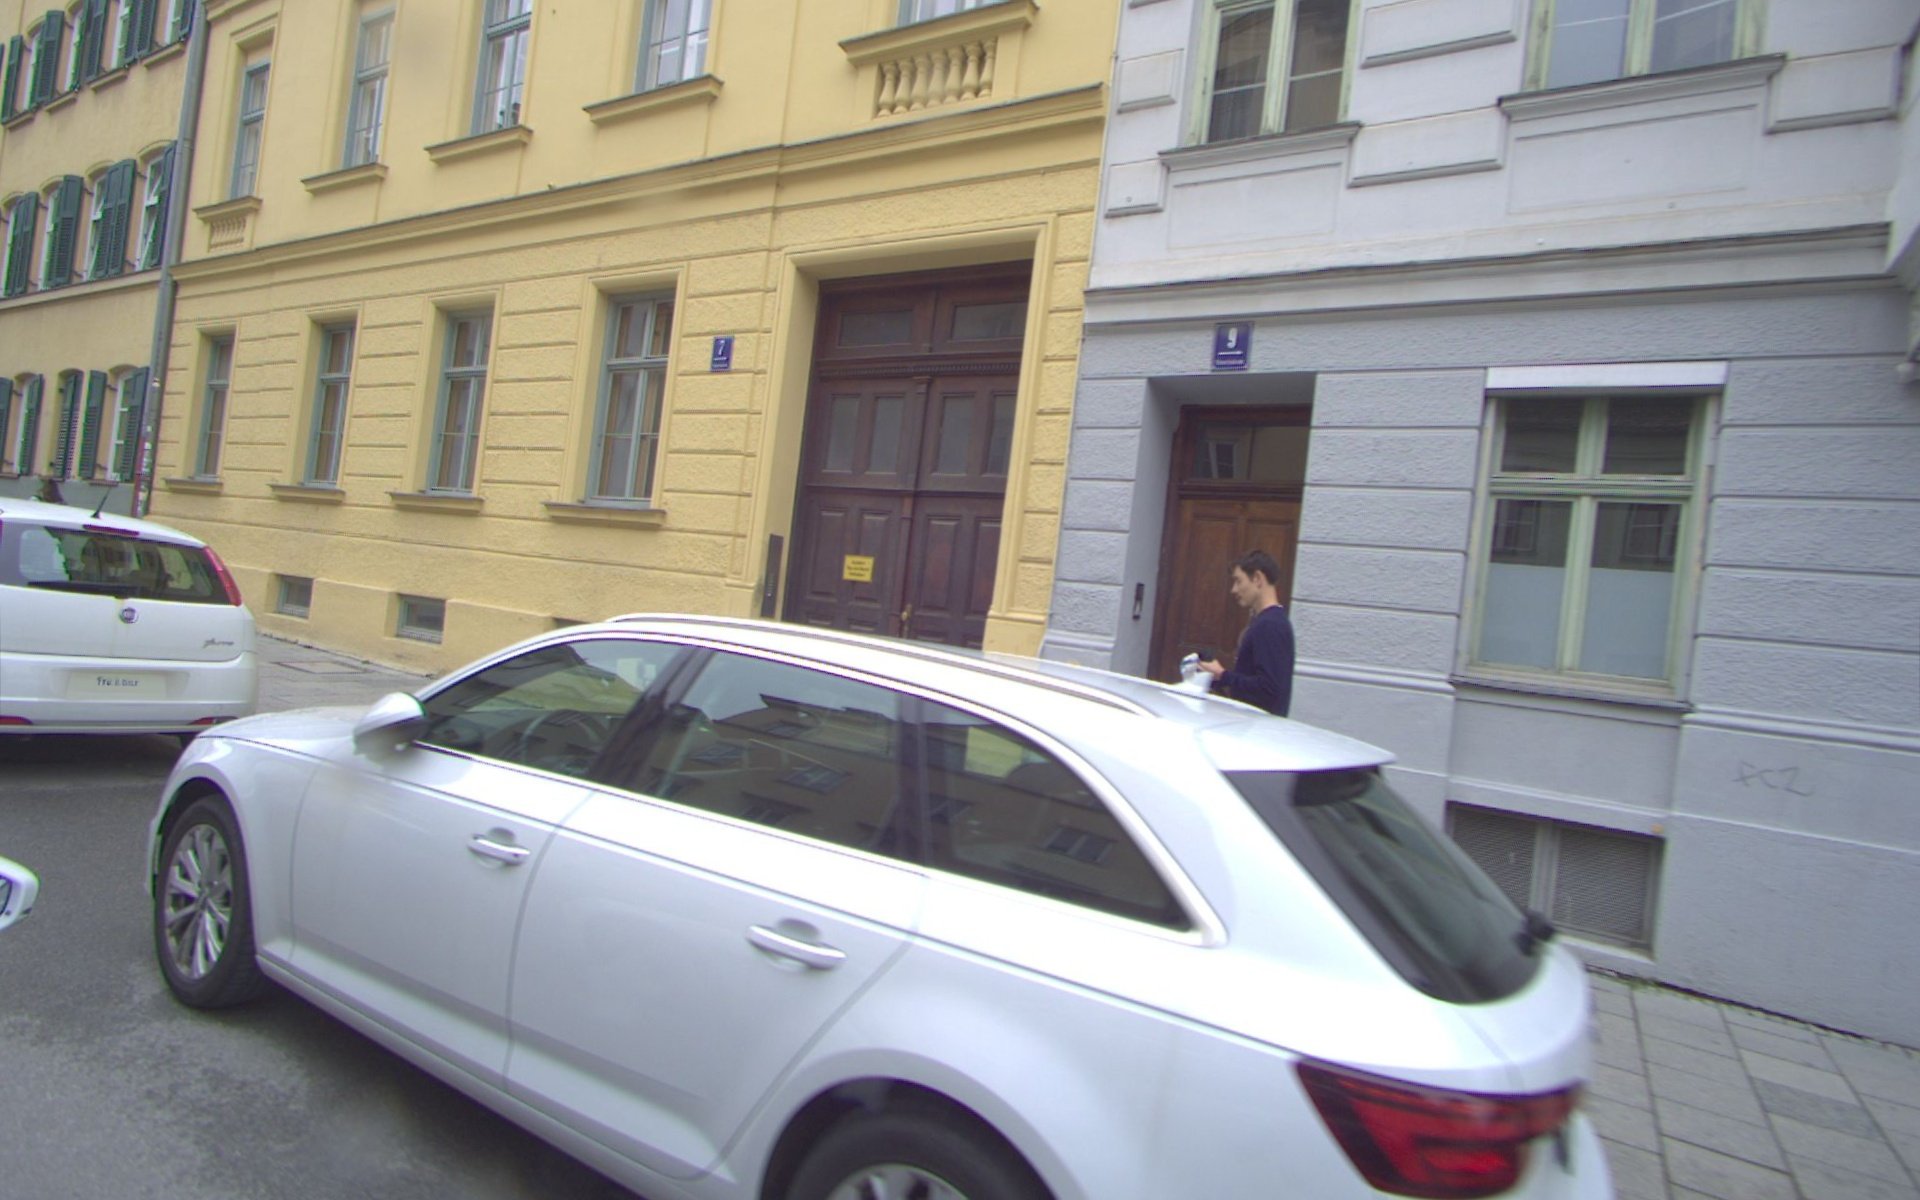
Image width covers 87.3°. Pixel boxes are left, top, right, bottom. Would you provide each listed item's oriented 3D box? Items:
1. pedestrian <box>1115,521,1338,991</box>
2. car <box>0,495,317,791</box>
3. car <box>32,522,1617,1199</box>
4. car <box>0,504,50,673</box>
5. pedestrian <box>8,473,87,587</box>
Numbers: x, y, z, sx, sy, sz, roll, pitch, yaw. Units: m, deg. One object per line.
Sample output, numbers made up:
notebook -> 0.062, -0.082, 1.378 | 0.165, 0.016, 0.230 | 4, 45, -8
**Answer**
pedestrian -> 1.273, 0.674, 4.776 | 0.697, 2.007, 0.669 | 6, 2, 32
car -> -6.232, 0.079, 6.498 | 4.027, 1.471, 1.712 | 7, -2, 30
car -> -0.876, 0.729, 3.156 | 4.735, 1.425, 1.711 | 6, -2, 32
car -> -10.120, -0.356, 8.941 | 4.135, 1.408, 1.712 | 7, -2, 30
pedestrian -> -13.379, -1.022, 14.754 | 0.631, 1.592, 0.661 | 6, 2, 31
